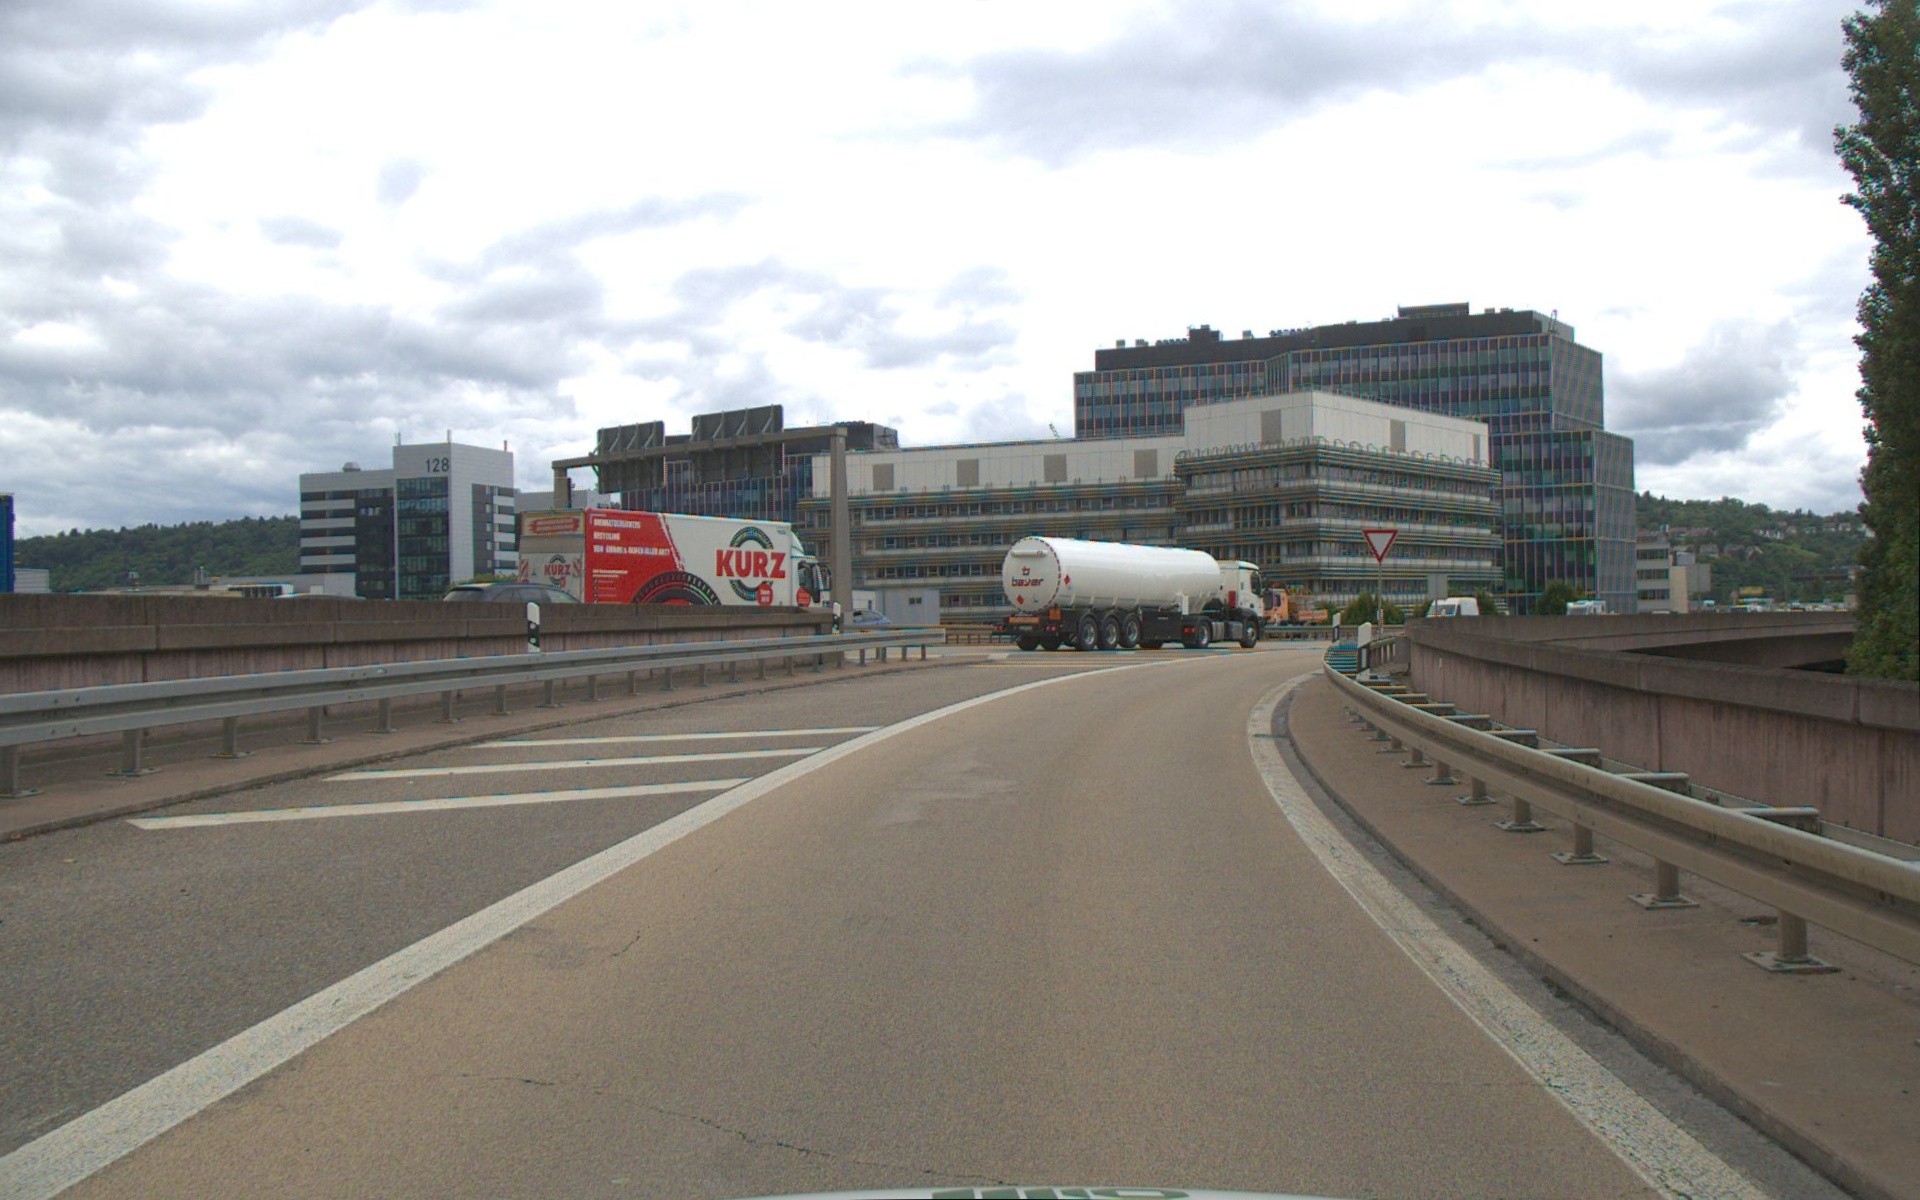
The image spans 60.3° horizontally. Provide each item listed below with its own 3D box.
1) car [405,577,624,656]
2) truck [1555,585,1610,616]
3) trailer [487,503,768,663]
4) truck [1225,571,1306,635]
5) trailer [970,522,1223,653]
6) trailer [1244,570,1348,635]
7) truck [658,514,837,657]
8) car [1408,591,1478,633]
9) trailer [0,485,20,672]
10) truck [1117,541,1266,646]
[{"bbox_3d":[-9.289,0.335,34.769,1.816,1.531,4.249,1,0,36],"label":"car"},{"bbox_3d":[55.612,0.050,147.636,2.450,2.672,7.315,-2,-1,38],"label":"truck"},{"bbox_3d":[-8.367,-0.365,42.541,2.644,3.755,7.287,-2,-1,35],"label":"trailer"},{"bbox_3d":[17.811,0.187,96.257,2.694,3.541,5.088,-2,-1,35],"label":"truck"},{"bbox_3d":[4.689,-0.340,53.636,2.745,3.803,11.111,-2,-1,36],"label":"trailer"},{"bbox_3d":[20.448,0.175,100.099,2.687,3.700,9.325,-2,-1,34],"label":"trailer"},{"bbox_3d":[-5.862,-0.348,46.112,2.645,3.755,4.423,-2,-1,36],"label":"truck"},{"bbox_3d":[31.850,0.759,108.940,2.535,2.690,6.166,-1,0,36],"label":"car"},{"bbox_3d":[-27.325,-0.485,35.340,3.108,4.423,12.469,-2,-1,36],"label":"trailer"},{"bbox_3d":[8.260,-0.190,58.523,2.723,3.490,5.941,-2,-1,36],"label":"truck"}]
